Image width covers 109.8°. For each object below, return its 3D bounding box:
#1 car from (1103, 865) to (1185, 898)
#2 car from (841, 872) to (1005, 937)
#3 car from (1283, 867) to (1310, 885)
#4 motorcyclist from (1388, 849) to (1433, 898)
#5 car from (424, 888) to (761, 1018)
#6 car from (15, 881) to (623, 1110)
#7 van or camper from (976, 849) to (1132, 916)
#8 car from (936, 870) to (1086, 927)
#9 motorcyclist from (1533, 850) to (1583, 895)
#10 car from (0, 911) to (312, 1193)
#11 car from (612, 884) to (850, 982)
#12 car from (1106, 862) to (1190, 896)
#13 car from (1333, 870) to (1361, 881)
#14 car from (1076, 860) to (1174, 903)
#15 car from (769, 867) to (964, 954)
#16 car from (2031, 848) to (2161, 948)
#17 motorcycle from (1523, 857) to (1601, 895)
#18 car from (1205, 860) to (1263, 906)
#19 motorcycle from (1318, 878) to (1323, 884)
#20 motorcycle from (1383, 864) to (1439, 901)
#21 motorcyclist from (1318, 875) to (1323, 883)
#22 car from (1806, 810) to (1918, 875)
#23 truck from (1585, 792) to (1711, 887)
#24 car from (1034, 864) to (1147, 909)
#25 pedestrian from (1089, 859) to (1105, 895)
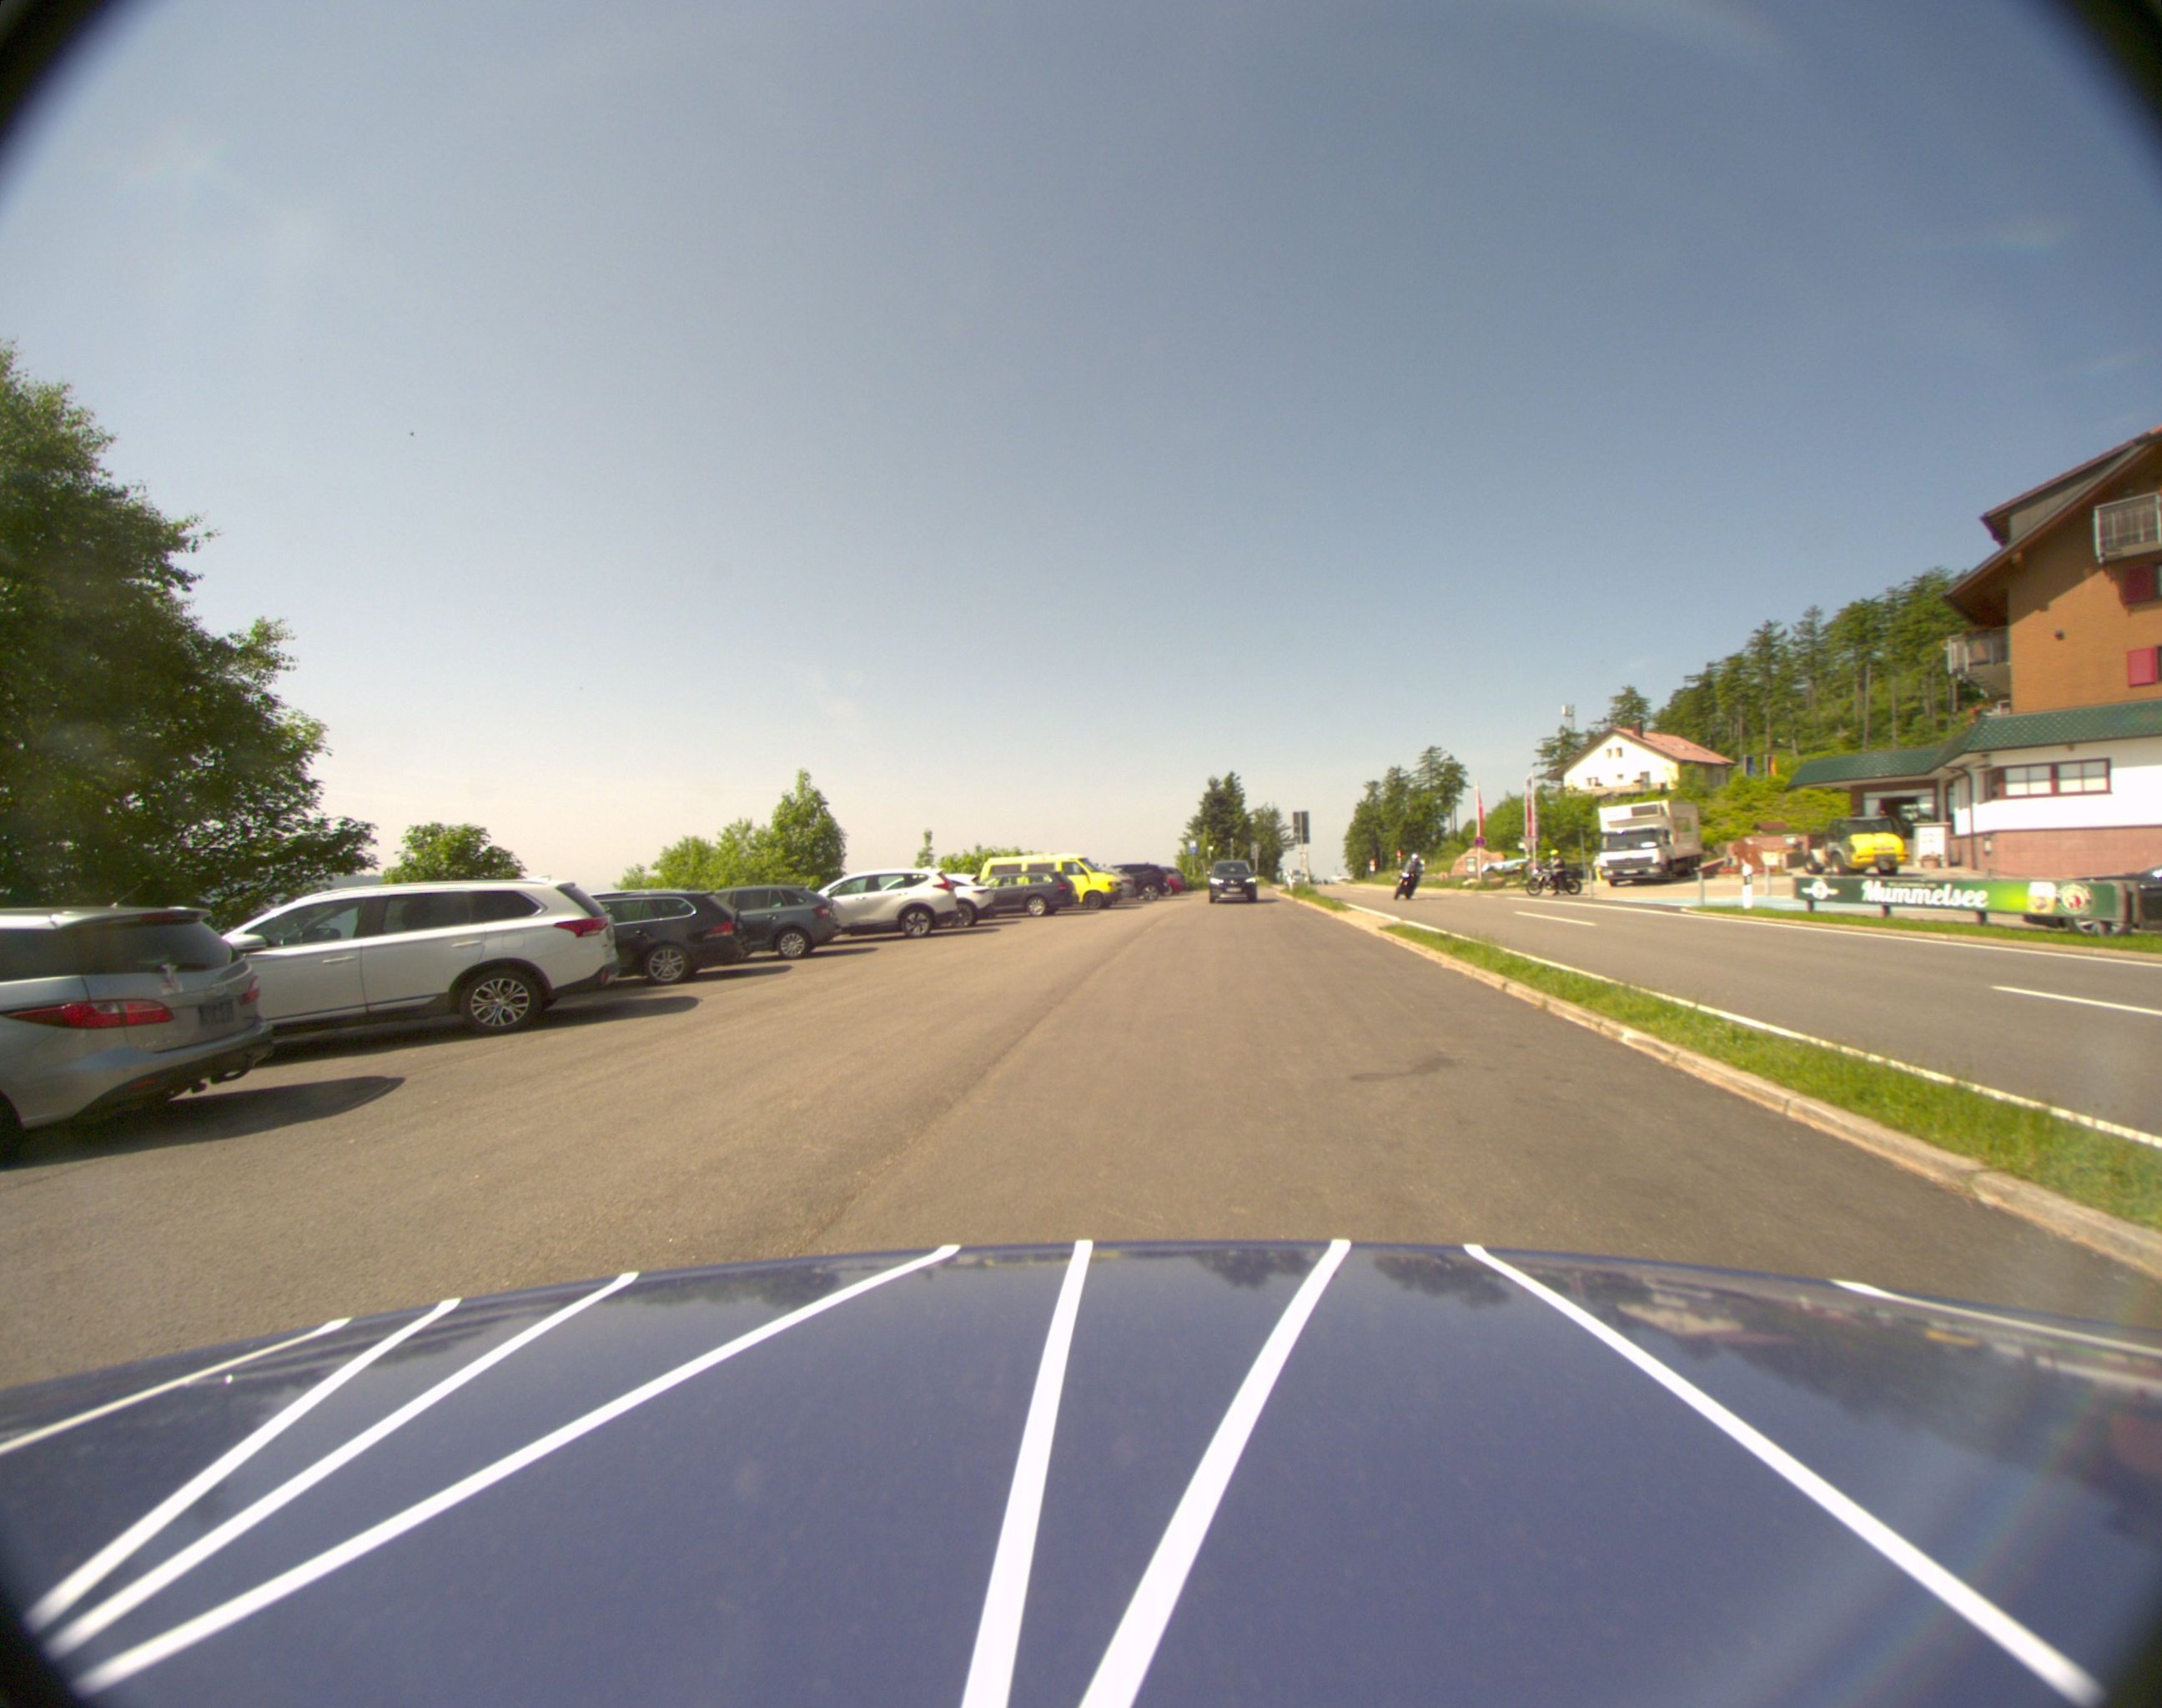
[{"bbox_3d":[3.185,1.392,38.955,3.997,1.500,1.843,-2,-2,1],"label":"car"},{"bbox_3d":[-4.281,1.357,21.082,4.097,1.491,1.943,-3,0,-2],"label":"car"},{"bbox_3d":[18.164,1.868,64.050,1.779,1.448,4.004,0,-1,10],"label":"car"},{"bbox_3d":[12.069,0.696,27.849,1.455,1.708,0.923,0,1,-38],"label":"motorcyclist"},{"bbox_3d":[-7.386,1.436,12.014,4.054,1.452,1.892,-4,0,-18],"label":"car"},{"bbox_3d":[-7.560,1.277,8.258,4.232,1.684,1.860,-3,-1,-27],"label":"car"},{"bbox_3d":[-0.935,1.030,27.108,5.098,2.001,1.885,-4,-2,15],"label":"van or camper"},{"bbox_3d":[-2.208,1.411,24.375,4.357,1.478,1.814,-4,-2,13],"label":"car"},{"bbox_3d":[18.823,0.736,30.000,1.247,1.710,1.064,-2,0,0],"label":"motorcyclist"},{"bbox_3d":[-8.008,1.342,4.769,4.004,1.540,1.817,-4,0,-23],"label":"car"},{"bbox_3d":[-6.574,1.443,14.680,3.807,1.450,1.661,-4,-1,-12],"label":"car"},{"bbox_3d":[3.637,1.373,41.602,4.406,1.559,1.909,-3,-2,4],"label":"car"},{"bbox_3d":[49.664,4.058,142.108,4.723,1.870,1.934,2,-1,13],"label":"car"},{"bbox_3d":[1.897,1.176,32.489,3.995,1.604,1.917,-3,-1,5],"label":"car"},{"bbox_3d":[-4.973,1.293,18.195,4.185,1.640,1.890,-4,0,-10],"label":"car"},{"bbox_3d":[17.762,0.662,11.451,1.811,1.531,4.182,0,-1,-35],"label":"car"},{"bbox_3d":[18.989,0.868,30.041,2.443,1.398,1.006,-2,0,0],"label":"motorcycle"},{"bbox_3d":[5.786,1.060,28.846,1.983,1.607,4.154,-1,-1,11],"label":"car"},{"bbox_3d":[50.571,5.681,160.450,0.812,1.258,2.331,0,-1,21],"label":"motorcycle"},{"bbox_3d":[12.053,1.015,27.735,2.282,1.249,0.876,0,1,-38],"label":"motorcycle"},{"bbox_3d":[50.548,5.298,160.426,0.880,1.631,1.301,0,-1,20],"label":"motorcyclist"},{"bbox_3d":[31.941,-0.377,31.244,1.995,2.481,4.008,-1,-1,26],"label":"car"},{"bbox_3d":[27.311,-0.700,36.397,8.788,3.948,3.063,-3,-2,-43],"label":"truck"},{"bbox_3d":[0.392,1.282,30.239,4.157,1.579,1.707,-3,-1,13],"label":"car"},{"bbox_3d":[0.853,1.211,40.267,0.609,1.888,0.679,-4,0,9],"label":"pedestrian"}]
